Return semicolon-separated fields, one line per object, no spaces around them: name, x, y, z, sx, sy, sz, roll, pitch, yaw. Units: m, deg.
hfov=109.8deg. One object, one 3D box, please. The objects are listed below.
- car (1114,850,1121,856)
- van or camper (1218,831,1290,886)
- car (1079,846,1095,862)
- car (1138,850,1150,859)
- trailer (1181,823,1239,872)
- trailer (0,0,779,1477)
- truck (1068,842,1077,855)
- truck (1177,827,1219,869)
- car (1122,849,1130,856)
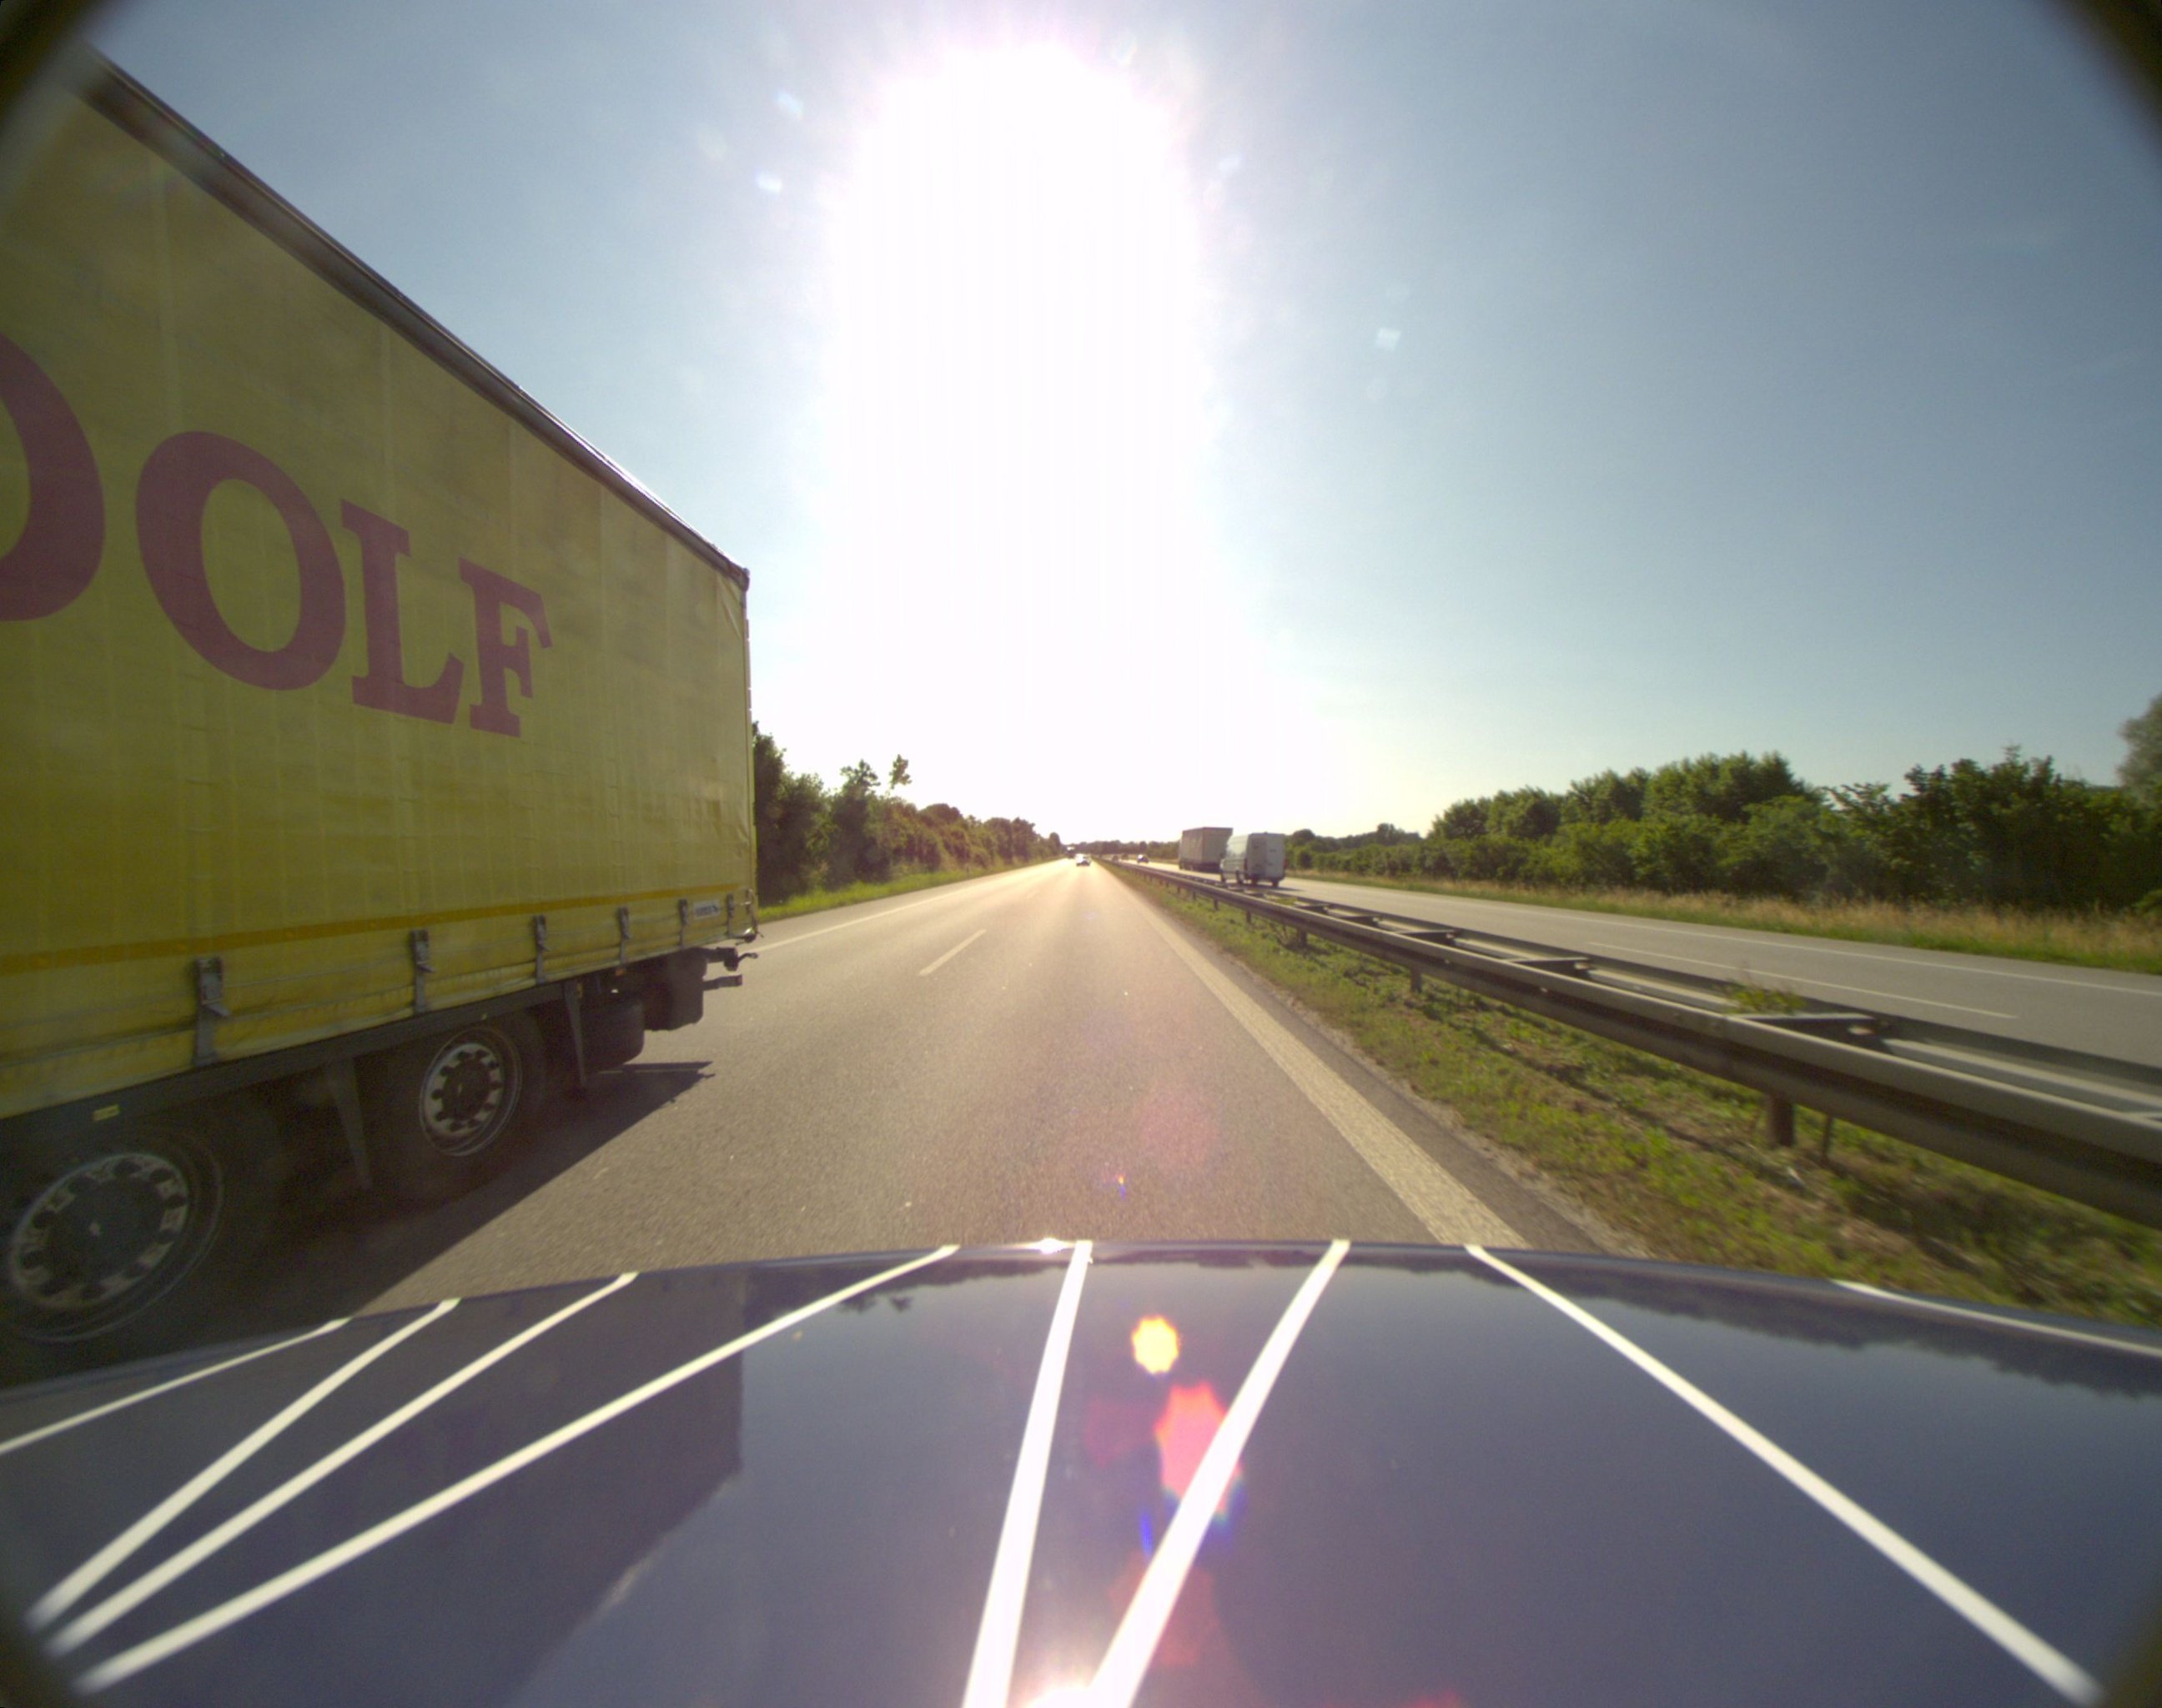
car;8.902;-0.242;185.929;1.771;1.412;4.470;3;1;2
van or camper;8.590;0.187;38.587;1.998;2.482;7.227;1;1;0
car;0.788;-0.001;100.923;1.998;2.002;4.358;-2;1;0
car;11.233;0.086;135.265;1.730;1.573;4.767;2;1;1
trailer;11.834;-0.601;71.187;3.192;4.036;14.598;2;1;1
trailer;-4.405;-0.372;0.109;3.192;4.036;13.185;-2;1;1
truck;-2.865;-1.927;258.446;2.759;4.242;8.492;-2;1;0
truck;11.920;-0.630;77.681;3.177;4.090;6.387;1;1;0
car;11.541;-0.441;196.209;1.954;1.761;4.748;3;1;2
